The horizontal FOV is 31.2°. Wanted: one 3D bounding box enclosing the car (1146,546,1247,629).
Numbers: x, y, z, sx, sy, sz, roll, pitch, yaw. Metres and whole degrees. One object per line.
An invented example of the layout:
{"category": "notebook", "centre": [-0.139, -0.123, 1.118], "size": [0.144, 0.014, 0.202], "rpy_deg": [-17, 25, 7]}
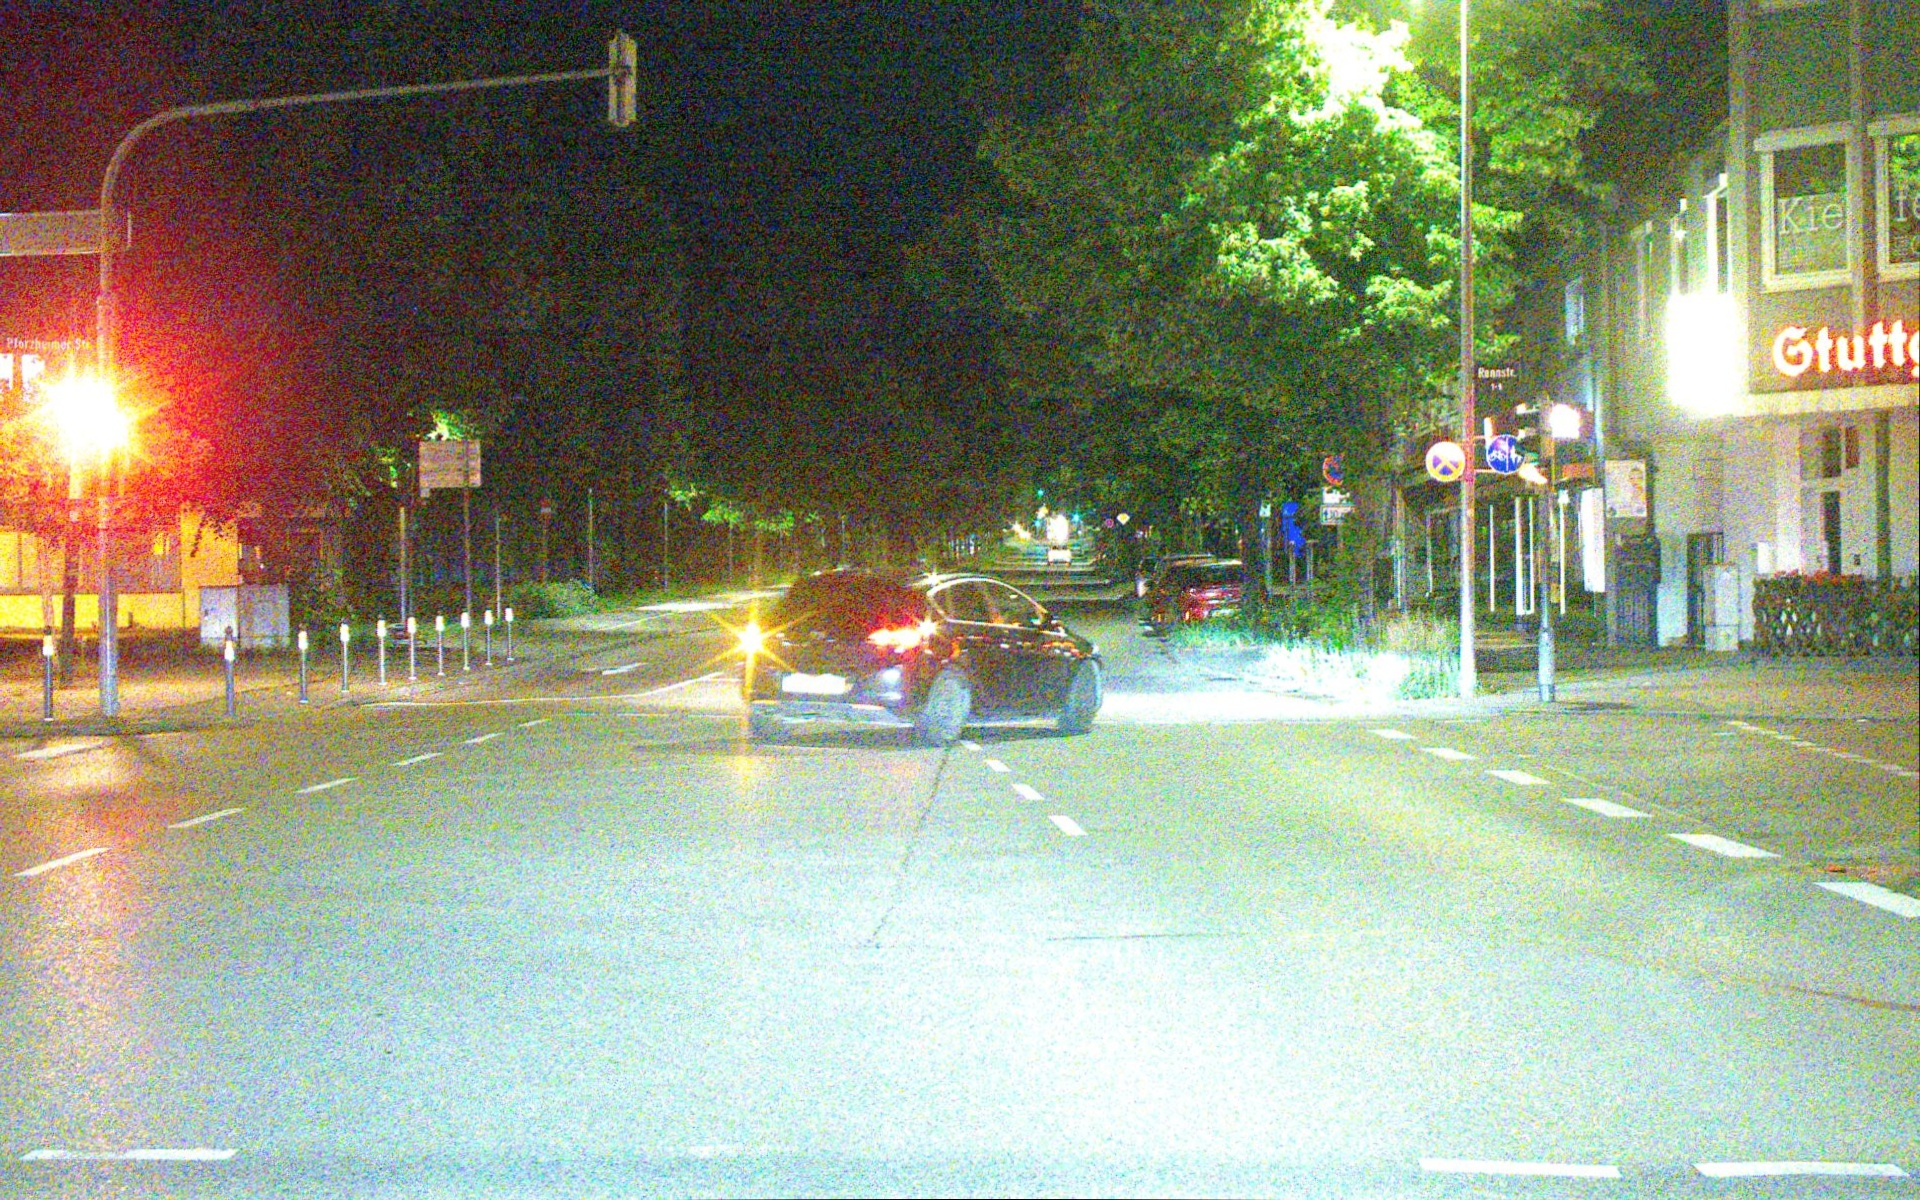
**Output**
{"category": "car", "centre": [4.705, -0.266, 68.799], "size": [1.876, 1.610, 4.000], "rpy_deg": [0, 1, 2]}

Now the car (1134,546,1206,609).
{"category": "car", "centre": [5.742, -0.620, 94.522], "size": [1.876, 1.678, 4.000], "rpy_deg": [0, 1, 2]}

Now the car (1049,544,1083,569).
{"category": "car", "centre": [7.066, -2.911, 229.536], "size": [2.227, 1.645, 4.000], "rpy_deg": [0, 1, 2]}

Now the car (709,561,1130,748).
{"category": "car", "centre": [-0.254, 0.421, 29.470], "size": [1.876, 1.449, 4.310], "rpy_deg": [1, 1, 26]}

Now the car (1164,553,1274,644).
{"category": "car", "centre": [4.751, -0.044, 63.471], "size": [1.876, 1.610, 4.000], "rpy_deg": [0, 1, 2]}

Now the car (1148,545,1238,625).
{"category": "car", "centre": [5.164, -0.347, 76.469], "size": [1.876, 1.723, 4.000], "rpy_deg": [0, 1, 2]}
